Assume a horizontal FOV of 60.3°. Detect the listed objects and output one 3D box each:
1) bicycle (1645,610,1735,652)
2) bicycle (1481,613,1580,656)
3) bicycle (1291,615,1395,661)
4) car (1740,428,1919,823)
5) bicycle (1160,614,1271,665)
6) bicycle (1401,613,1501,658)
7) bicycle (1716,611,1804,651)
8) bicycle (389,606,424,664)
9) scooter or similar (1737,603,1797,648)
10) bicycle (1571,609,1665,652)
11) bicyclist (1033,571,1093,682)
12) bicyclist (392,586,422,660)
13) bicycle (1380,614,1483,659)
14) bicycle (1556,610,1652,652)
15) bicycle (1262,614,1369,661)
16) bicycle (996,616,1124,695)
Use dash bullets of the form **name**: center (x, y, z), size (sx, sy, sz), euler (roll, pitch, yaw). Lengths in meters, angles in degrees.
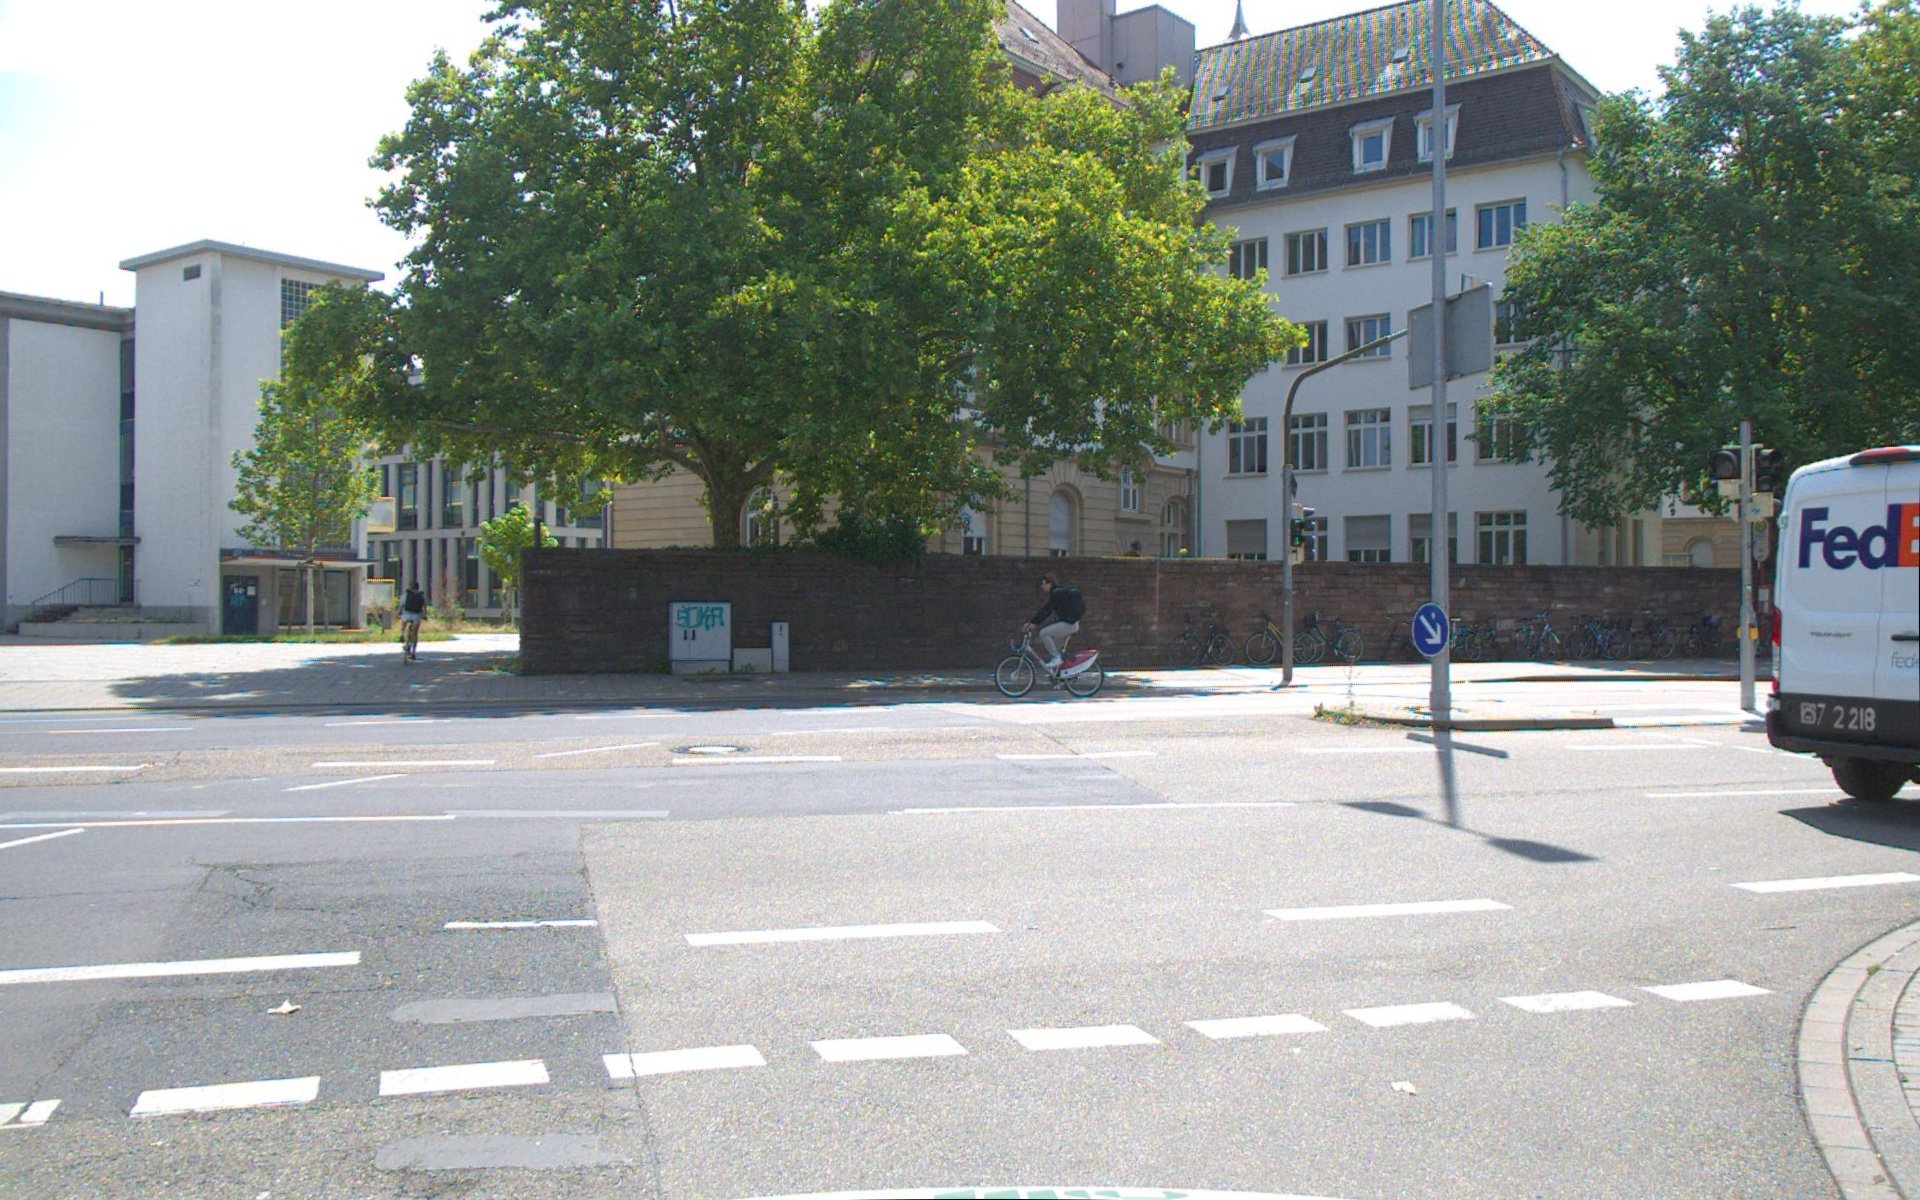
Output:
- **bicycle**: center (18.449, 0.774, 41.770), size (2.351, 1.011, 0.748), euler (0, 0, -26)
- **bicycle**: center (13.638, 0.814, 39.529), size (2.348, 1.011, 0.749), euler (0, 0, -23)
- **bicycle**: center (8.629, 0.839, 37.269), size (2.348, 1.011, 0.692), euler (0, 0, -23)
- **car**: center (8.696, 0.149, 12.439), size (5.511, 2.611, 2.086), euler (0, 1, -25)
- **bicycle**: center (5.554, 0.852, 35.964), size (2.348, 1.077, 0.749), euler (0, 0, -23)
- **bicycle**: center (11.452, 0.815, 38.562), size (2.348, 1.011, 0.719), euler (0, 0, -23)
- **bicycle**: center (20.661, 0.784, 42.702), size (2.350, 1.011, 0.748), euler (0, 0, -25)
- **bicycle**: center (-11.288, 0.695, 33.767), size (0.541, 1.150, 2.165), euler (0, -1, -15)
- **scooter or similar**: center (20.315, 0.656, 41.636), size (1.911, 1.103, 0.533), euler (1, -1, -36)
- **bicycle**: center (16.255, 0.743, 40.828), size (2.349, 1.011, 0.719), euler (0, 0, -24)
- **bicyclist**: center (1.594, 0.412, 25.674), size (0.869, 1.701, 0.684), euler (0, 0, -1)
- **bicyclist**: center (-11.257, 0.467, 33.679), size (0.506, 1.477, 0.784), euler (0, -1, -14)
- **bicycle**: center (10.924, 0.843, 38.313), size (2.348, 1.011, 0.749), euler (0, 0, -23)
- **bicycle**: center (15.828, 0.749, 40.621), size (2.348, 1.011, 0.749), euler (0, 0, -23)
- **bicycle**: center (7.951, 0.835, 36.971), size (2.348, 1.011, 0.749), euler (0, 0, -23)
- **bicycle**: center (1.541, 0.848, 25.671), size (1.941, 1.206, 0.682), euler (0, 0, -1)
